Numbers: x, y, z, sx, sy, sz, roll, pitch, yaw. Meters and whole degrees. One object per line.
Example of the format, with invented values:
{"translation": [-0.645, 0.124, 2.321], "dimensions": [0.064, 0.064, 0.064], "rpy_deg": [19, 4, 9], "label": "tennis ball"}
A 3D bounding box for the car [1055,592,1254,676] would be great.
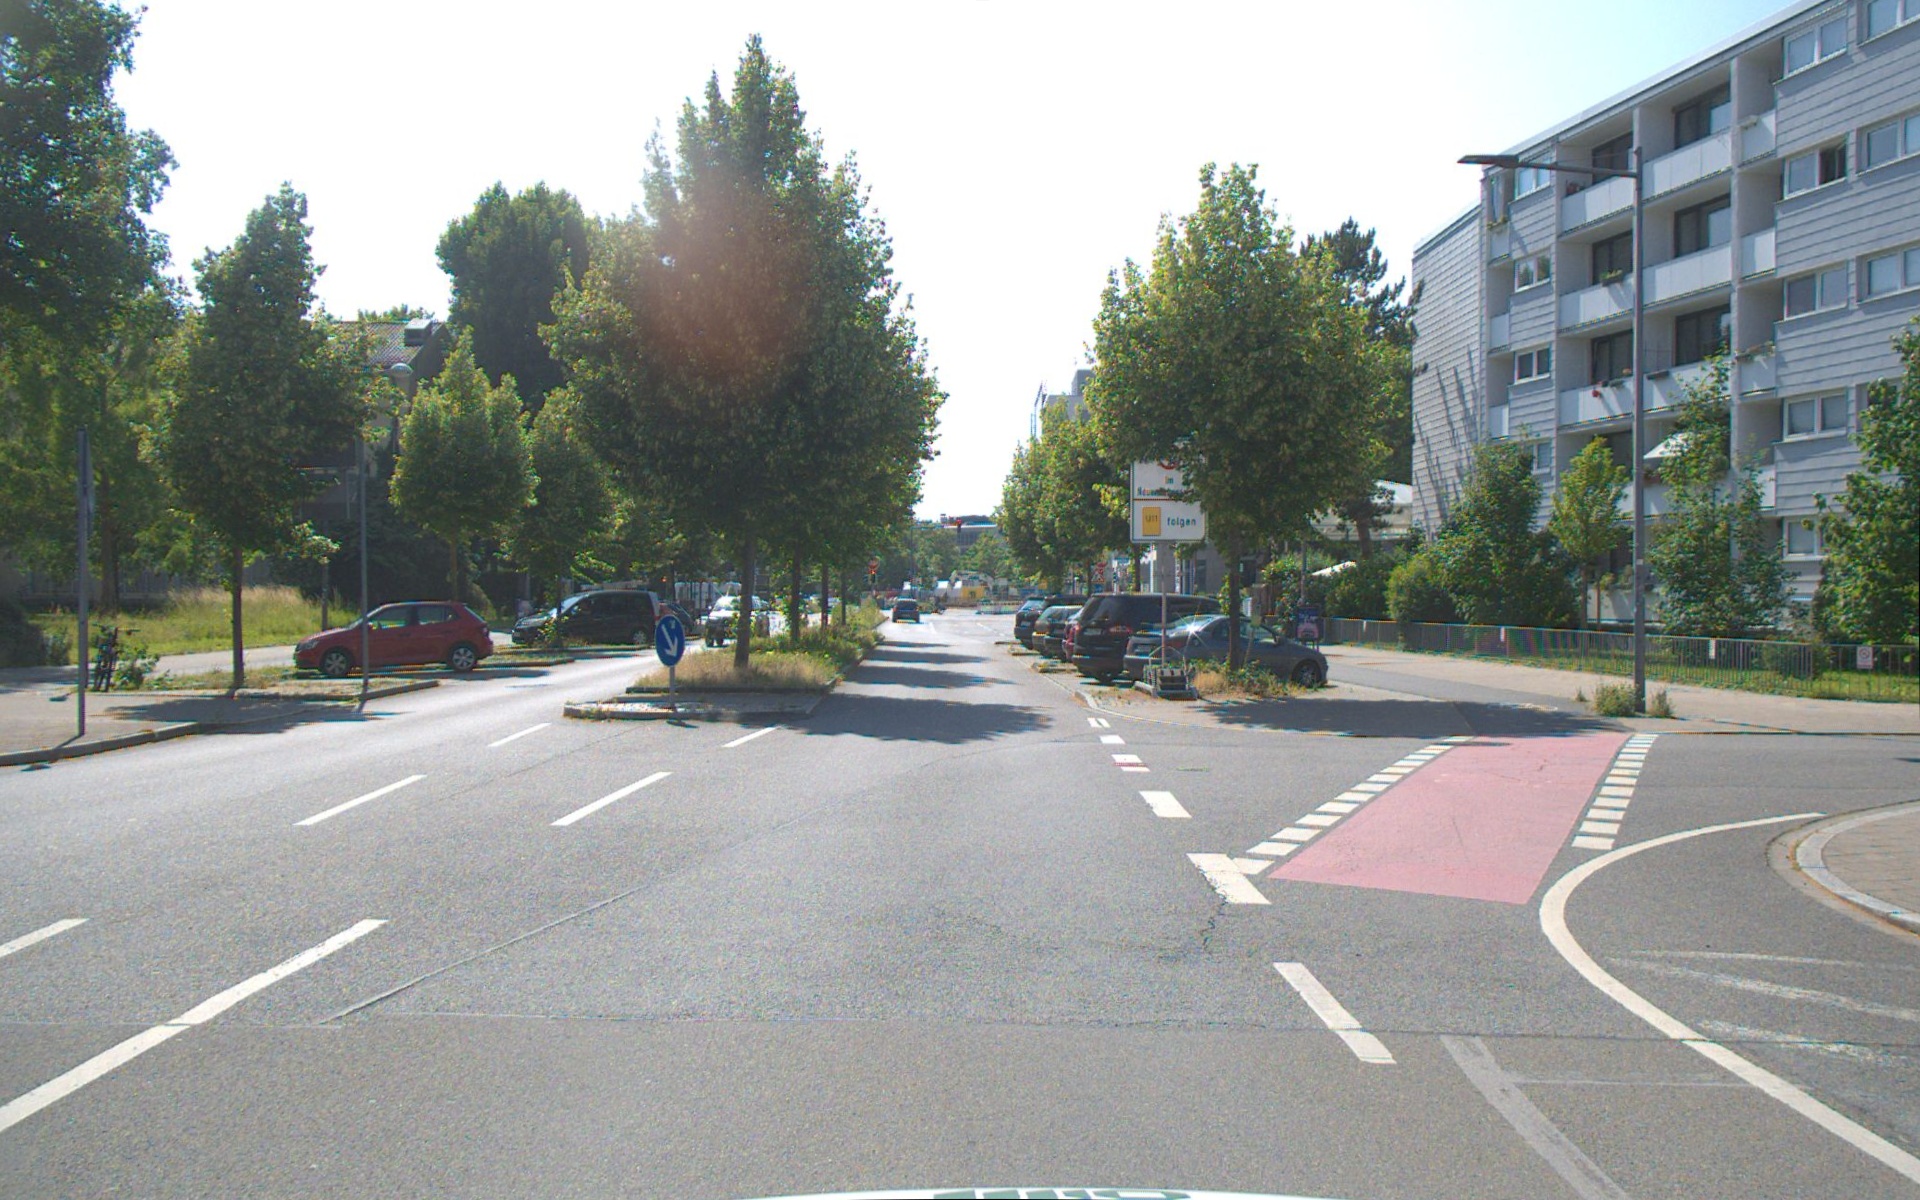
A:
{"translation": [4.123, 0.716, 34.805], "dimensions": [3.954, 1.669, 1.857], "rpy_deg": [0, -2, -36], "label": "car"}

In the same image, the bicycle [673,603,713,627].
{"translation": [-12.948, 0.733, 80.293], "dimensions": [1.807, 1.142, 0.693], "rpy_deg": [0, 0, 0], "label": "bicycle"}

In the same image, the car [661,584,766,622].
{"translation": [-17.797, 0.198, 119.621], "dimensions": [7.283, 2.721, 2.900], "rpy_deg": [0, 1, -5], "label": "car"}

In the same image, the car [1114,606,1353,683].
{"translation": [4.843, 0.751, 29.191], "dimensions": [3.940, 1.258, 1.737], "rpy_deg": [0, 0, -27], "label": "car"}

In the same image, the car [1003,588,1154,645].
{"translation": [3.710, 0.486, 51.392], "dimensions": [4.692, 1.689, 1.731], "rpy_deg": [0, 0, -36], "label": "car"}

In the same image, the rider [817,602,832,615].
{"translation": [-12.956, 0.793, 158.091], "dimensions": [1.364, 1.217, 2.696], "rpy_deg": [0, 0, -4], "label": "rider"}

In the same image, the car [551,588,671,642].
{"translation": [-11.941, 0.496, 56.617], "dimensions": [3.717, 1.803, 1.803], "rpy_deg": [0, 0, -27], "label": "car"}

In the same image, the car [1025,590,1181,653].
{"translation": [3.902, 0.566, 45.281], "dimensions": [3.919, 1.668, 1.747], "rpy_deg": [0, 0, -14], "label": "car"}

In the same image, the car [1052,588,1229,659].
{"translation": [4.382, 0.556, 40.266], "dimensions": [3.929, 1.668, 1.790], "rpy_deg": [0, 0, -21], "label": "car"}

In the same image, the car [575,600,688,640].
{"translation": [-12.193, 0.732, 61.431], "dimensions": [3.802, 1.448, 1.693], "rpy_deg": [0, 0, -37], "label": "car"}

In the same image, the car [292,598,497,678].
{"translation": [-11.831, 0.748, 34.584], "dimensions": [3.932, 1.492, 1.987], "rpy_deg": [-1, 1, -23], "label": "car"}

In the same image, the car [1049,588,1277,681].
{"translation": [3.914, 0.617, 31.657], "dimensions": [4.072, 1.668, 2.020], "rpy_deg": [0, 0, -35], "label": "car"}

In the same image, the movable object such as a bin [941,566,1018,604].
{"translation": [2.438, -1.893, 206.076], "dimensions": [9.476, 4.629, 3.164], "rpy_deg": [0, 0, 0], "label": "movable object such as a bin"}

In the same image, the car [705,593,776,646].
{"translation": [-6.937, 0.593, 52.609], "dimensions": [1.706, 1.574, 4.072], "rpy_deg": [-1, 0, 0], "label": "car"}

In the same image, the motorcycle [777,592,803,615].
{"translation": [-7.478, 0.138, 72.662], "dimensions": [0.904, 1.010, 2.235], "rpy_deg": [0, 0, 0], "label": "motorcycle"}

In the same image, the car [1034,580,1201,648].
{"translation": [4.039, 0.330, 42.423], "dimensions": [3.933, 1.668, 1.740], "rpy_deg": [0, 1, -24], "label": "car"}

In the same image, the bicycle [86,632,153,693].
{"translation": [-13.352, 0.985, 26.300], "dimensions": [0.510, 0.919, 1.269], "rpy_deg": [-1, 0, -6], "label": "bicycle"}

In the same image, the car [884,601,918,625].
{"translation": [-3.674, 0.794, 103.224], "dimensions": [1.954, 1.422, 3.996], "rpy_deg": [0, 0, -4], "label": "car"}

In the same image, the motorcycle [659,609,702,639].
{"translation": [-12.235, 1.046, 72.504], "dimensions": [1.811, 1.307, 0.692], "rpy_deg": [0, 0, -8], "label": "motorcycle"}

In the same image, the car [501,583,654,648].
{"translation": [-11.678, 0.432, 50.611], "dimensions": [4.148, 1.848, 1.976], "rpy_deg": [-1, 1, -39], "label": "car"}

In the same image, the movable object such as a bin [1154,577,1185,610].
{"translation": [10.606, -0.318, 83.696], "dimensions": [1.282, 1.620, 1.395], "rpy_deg": [-2, 0, -4], "label": "movable object such as a bin"}
